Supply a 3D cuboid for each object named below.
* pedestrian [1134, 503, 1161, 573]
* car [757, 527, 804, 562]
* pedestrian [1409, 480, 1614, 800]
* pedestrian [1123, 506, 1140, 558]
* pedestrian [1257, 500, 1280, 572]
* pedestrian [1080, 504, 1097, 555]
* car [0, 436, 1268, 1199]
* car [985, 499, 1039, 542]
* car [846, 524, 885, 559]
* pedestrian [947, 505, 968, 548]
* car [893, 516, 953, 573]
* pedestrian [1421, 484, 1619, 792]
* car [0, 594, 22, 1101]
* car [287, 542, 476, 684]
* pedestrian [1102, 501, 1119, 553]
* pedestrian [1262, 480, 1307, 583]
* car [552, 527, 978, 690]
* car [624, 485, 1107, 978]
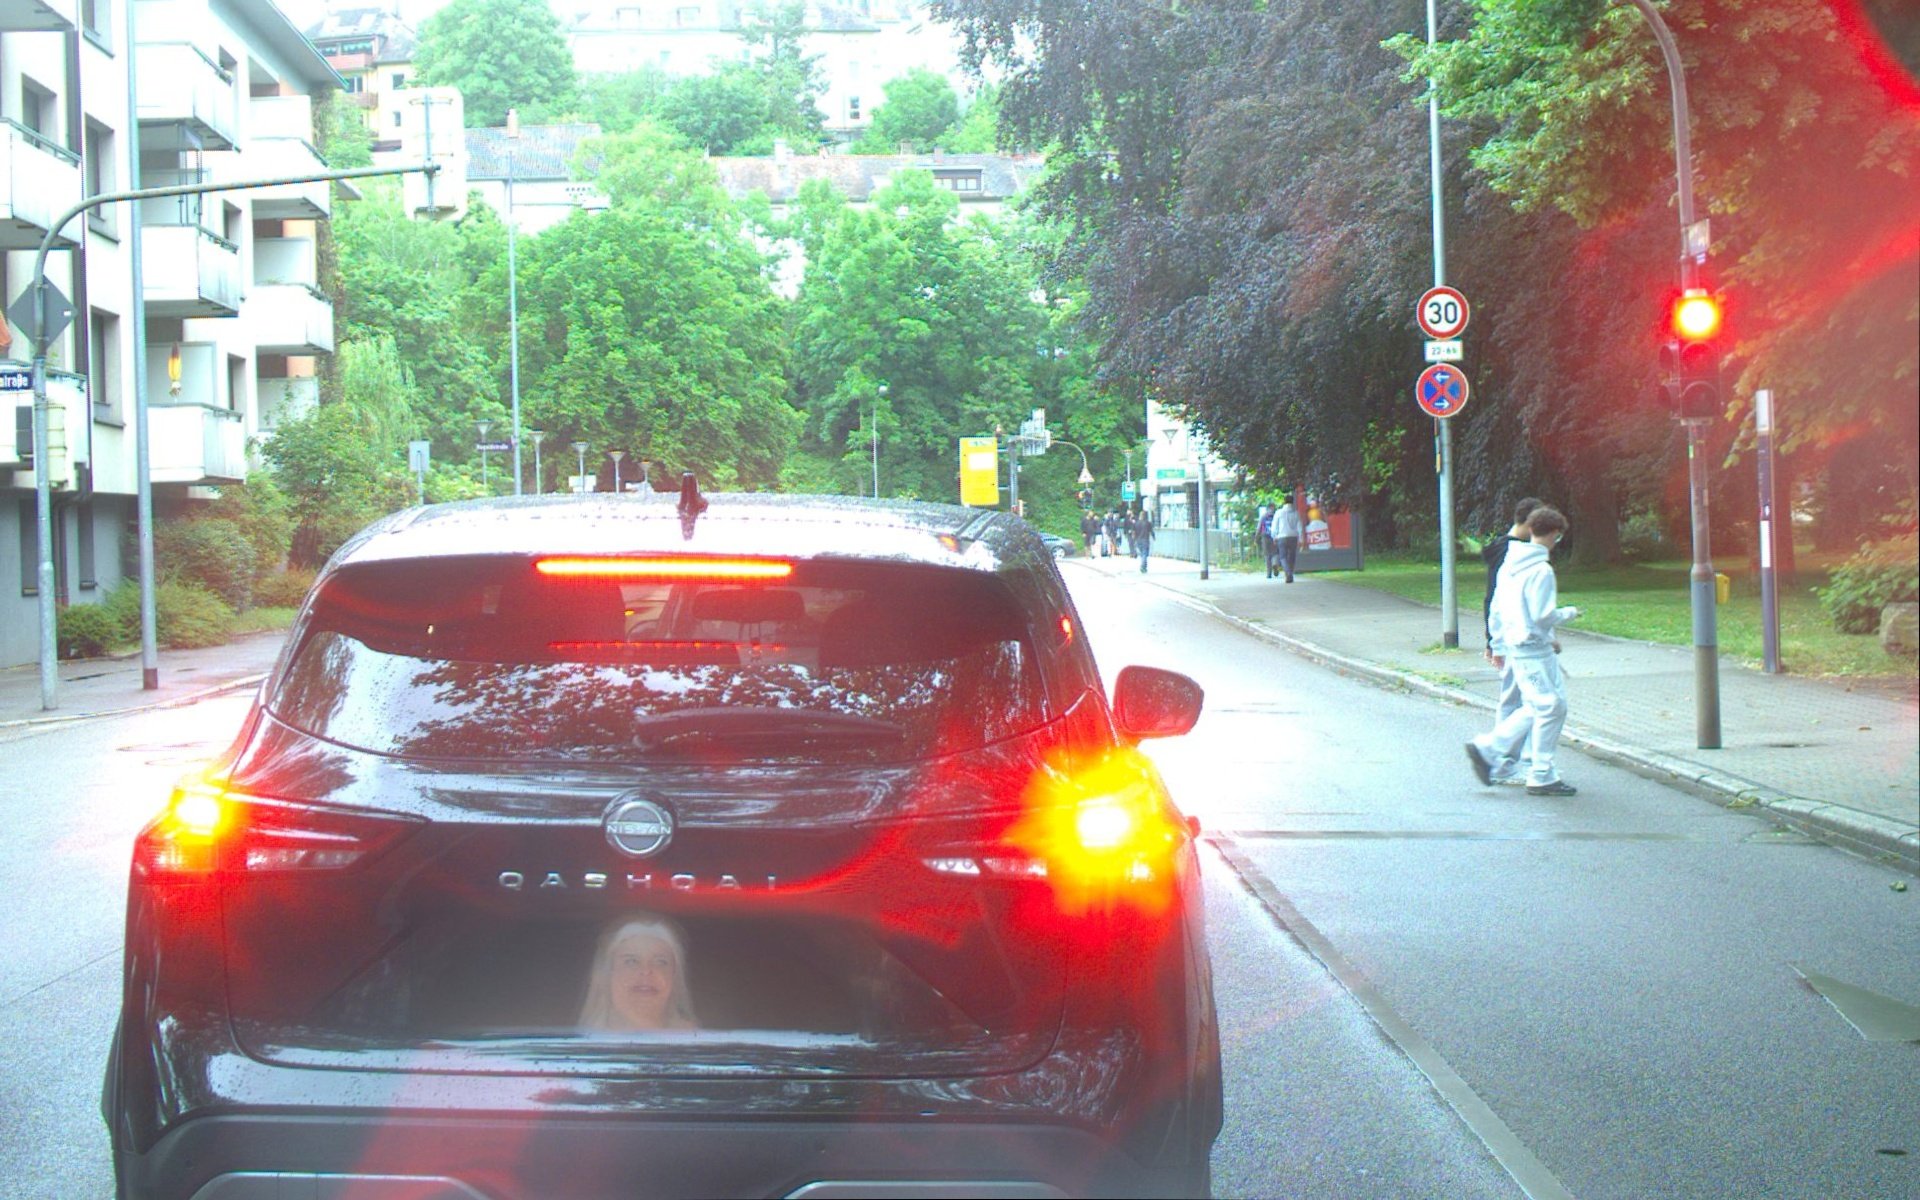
[{"bbox_3d":[4.940,-1.630,90.420,0.617,1.796,0.510,-2,1,6],"label":"pedestrian"},{"bbox_3d":[-8.347,-2.600,160.356,1.970,1.527,3.968,-2,1,-1],"label":"car"},{"bbox_3d":[3.296,0.230,20.576,1.035,1.869,0.658,-1,1,-11],"label":"pedestrian"},{"bbox_3d":[6.032,-2.386,120.832,0.508,1.796,0.619,-2,1,-2],"label":"pedestrian"},{"bbox_3d":[6.525,-1.354,72.699,0.390,1.497,0.559,-2,1,0],"label":"pedestrian"},{"bbox_3d":[4.524,-2.490,121.408,0.508,1.796,0.619,-2,1,-1],"label":"pedestrian"},{"bbox_3d":[-0.528,0.559,7.020,1.913,1.674,4.000,0,1,0],"label":"car"},{"bbox_3d":[2.181,-3.331,144.008,1.994,1.729,3.999,1,1,4],"label":"car"},{"bbox_3d":[-4.251,-2.650,155.098,1.634,1.527,3.968,-2,1,-1],"label":"car"},{"bbox_3d":[-0.103,-2.882,135.161,0.509,1.667,0.658,-2,1,27],"label":"pedestrian"},{"bbox_3d":[-1.050,-1.600,98.642,1.634,1.527,3.968,-2,1,-1],"label":"car"},{"bbox_3d":[3.468,0.224,21.328,1.035,1.869,0.658,-1,1,-11],"label":"pedestrian"},{"bbox_3d":[-3.442,0.599,7.280,1.845,1.620,4.138,-2,1,-2],"label":"car"},{"bbox_3d":[-6.821,0.114,40.855,1.795,1.528,3.868,-2,1,-4],"label":"car"},{"bbox_3d":[5.272,-2.540,120.326,0.508,1.796,0.659,-2,1,1],"label":"pedestrian"},{"bbox_3d":[6.406,-1.355,67.921,0.725,2.007,0.851,-2,1,0],"label":"pedestrian"},{"bbox_3d":[-1.854,0.055,34.353,1.829,1.399,4.642,-2,1,33],"label":"car"},{"bbox_3d":[-0.365,0.441,14.363,1.698,1.739,3.641,-2,1,-1],"label":"car"}]
